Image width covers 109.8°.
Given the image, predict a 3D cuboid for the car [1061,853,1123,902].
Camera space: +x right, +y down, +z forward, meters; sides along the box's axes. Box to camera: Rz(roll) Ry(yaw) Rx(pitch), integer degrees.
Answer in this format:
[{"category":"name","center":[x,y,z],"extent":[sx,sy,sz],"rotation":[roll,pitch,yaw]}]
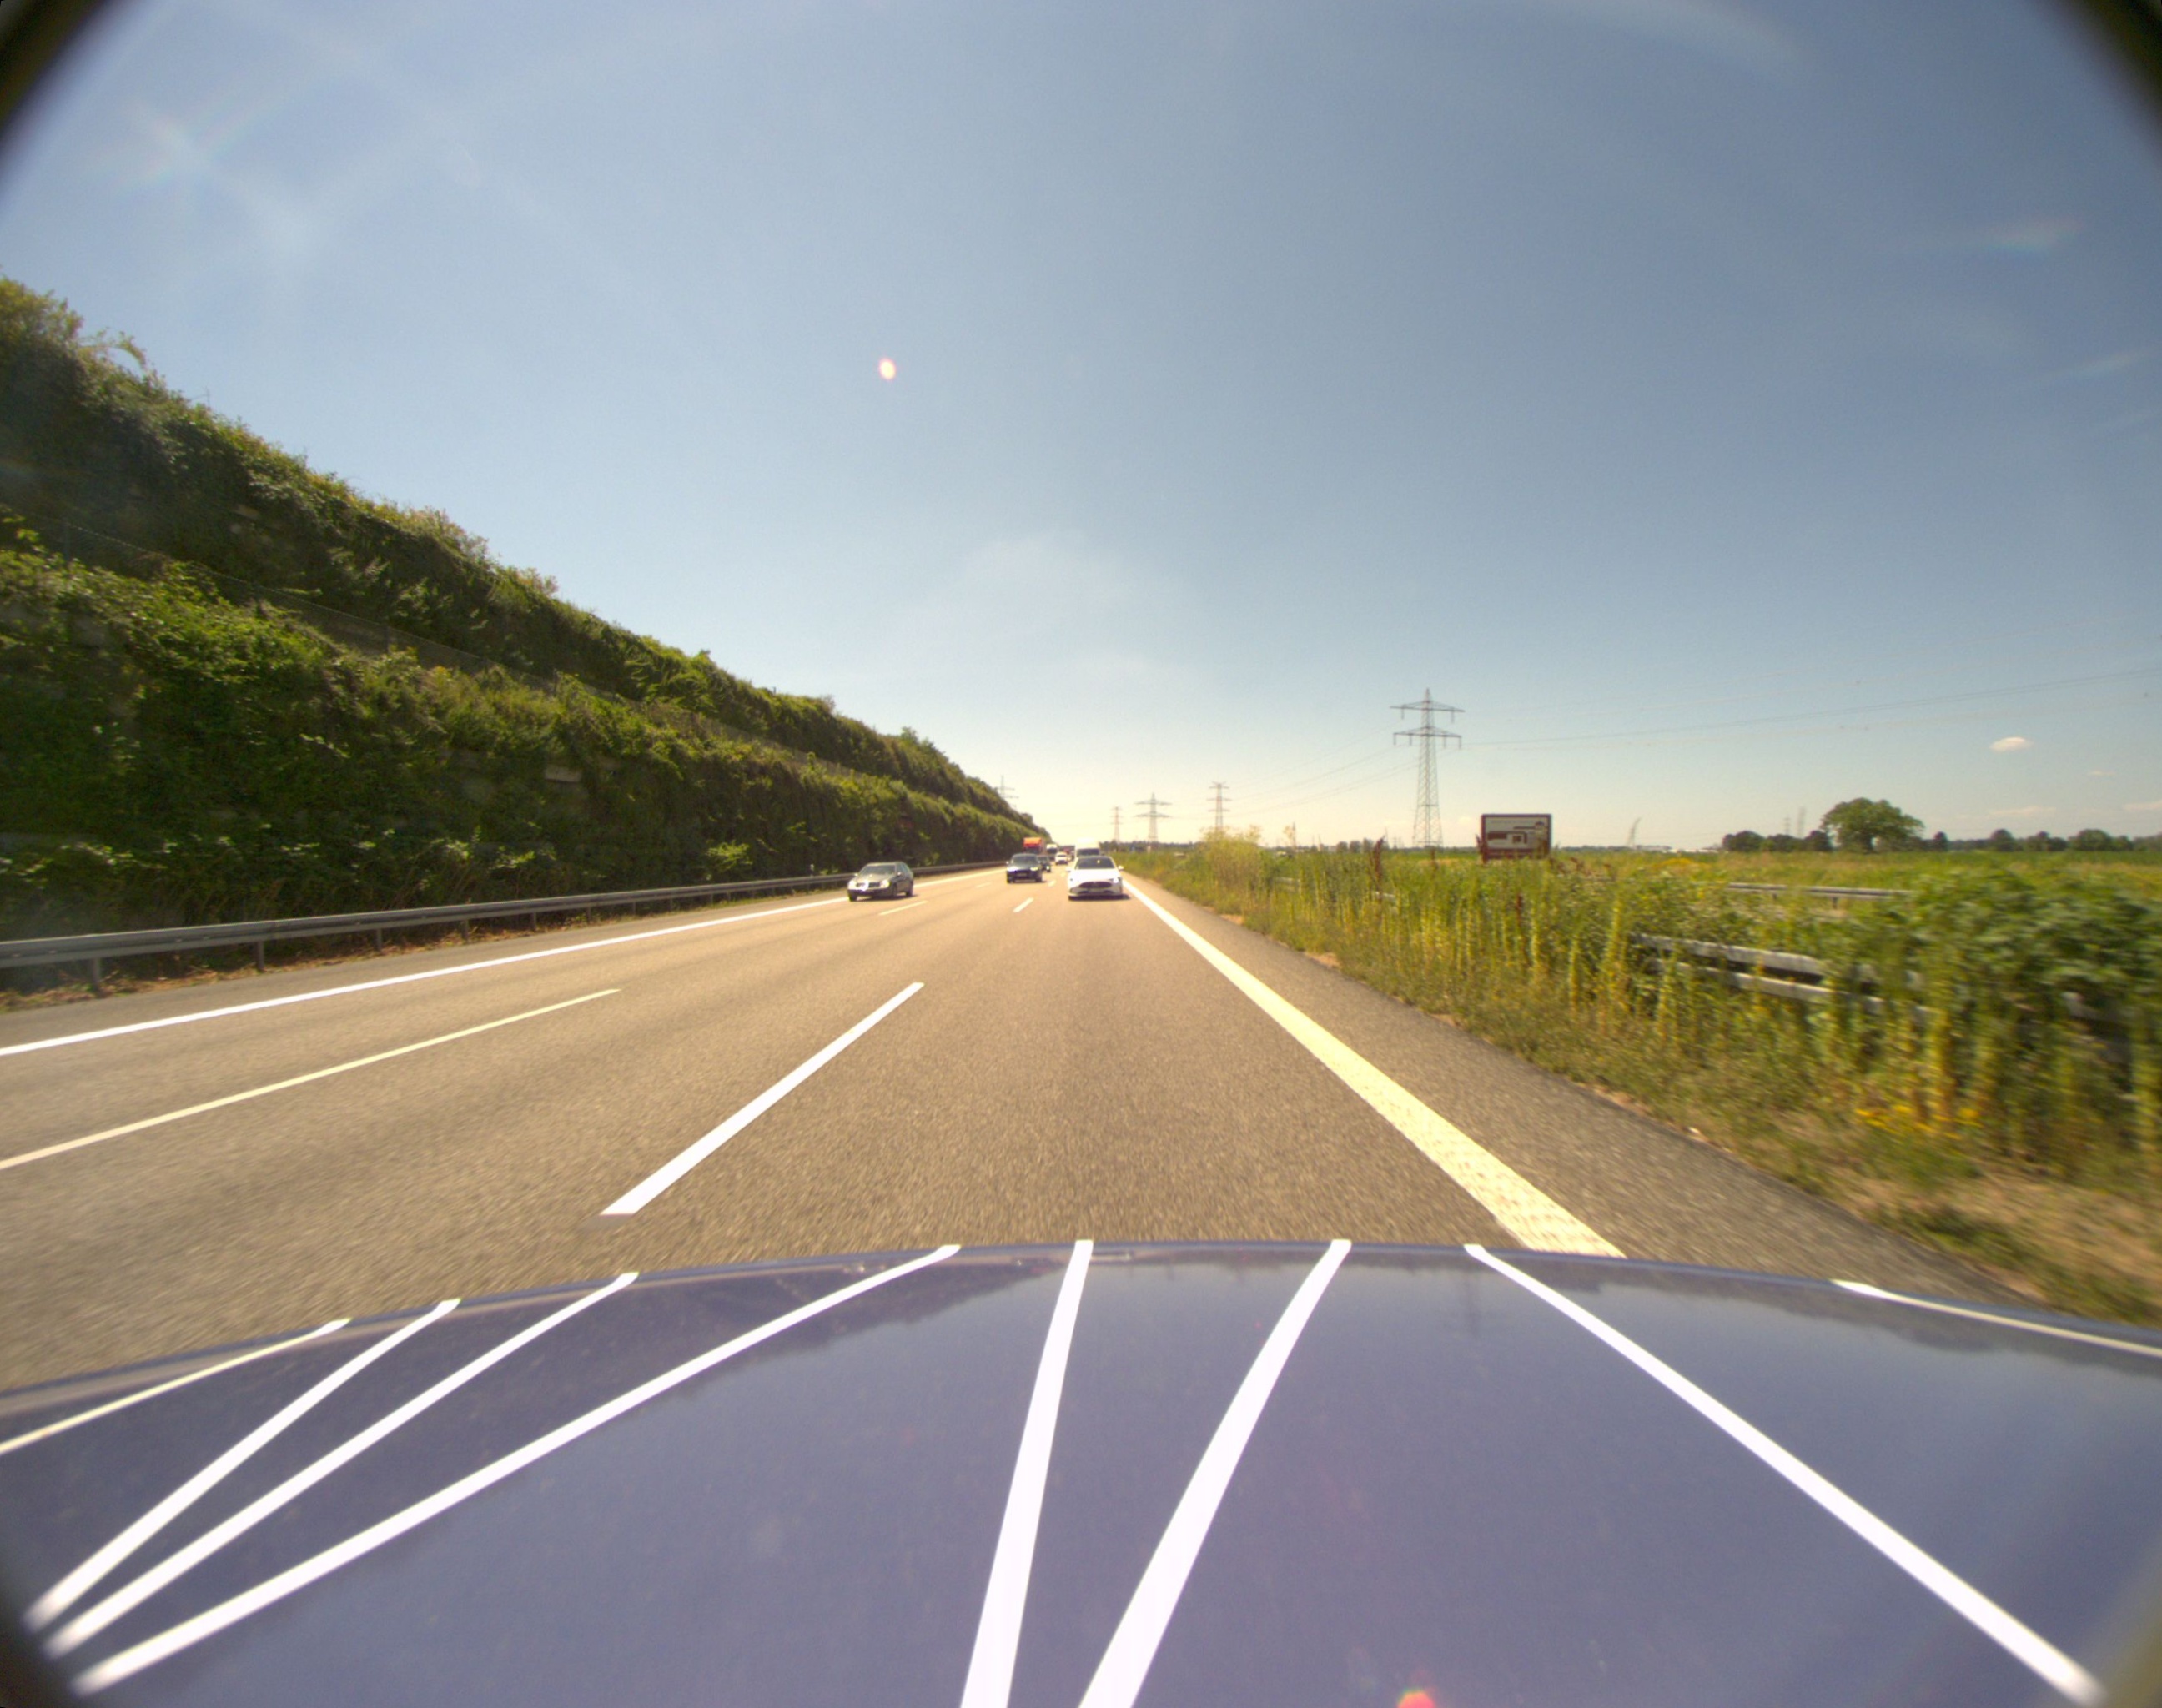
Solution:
[{"category":"car","center":[0.388,0.761,26.950],"extent":[1.984,1.525,4.558],"rotation":[-1,0,0]}]

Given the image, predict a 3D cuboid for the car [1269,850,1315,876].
[{"category":"car","center":[14.373,0.555,51.984],"extent":[1.866,1.644,4.558],"rotation":[-1,0,0]}]

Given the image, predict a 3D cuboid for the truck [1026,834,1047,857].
[{"category":"truck","center":[-6.494,-1.294,111.585],"extent":[2.581,3.204,5.712],"rotation":[-2,1,0]}]

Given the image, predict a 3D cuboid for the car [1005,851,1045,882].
[{"category":"car","center":[-3.211,0.679,44.469],"extent":[1.984,1.671,4.558],"rotation":[-1,0,0]}]

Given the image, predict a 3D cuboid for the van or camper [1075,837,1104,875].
[{"category":"van or camper","center":[0.725,0.158,58.719],"extent":[1.998,2.741,5.410],"rotation":[-2,1,3]}]

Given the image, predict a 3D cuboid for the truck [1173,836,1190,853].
[{"category":"truck","center":[24.152,-2.359,183.096],"extent":[3.214,4.060,9.648],"rotation":[0,1,2]}]

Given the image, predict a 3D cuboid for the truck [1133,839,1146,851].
[{"category":"truck","center":[19.993,-3.064,259.151],"extent":[3.507,4.060,9.646],"rotation":[0,1,-1]}]

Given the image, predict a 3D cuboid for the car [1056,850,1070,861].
[{"category":"car","center":[-2.590,0.169,111.815],"extent":[1.984,1.525,4.137],"rotation":[-1,0,0]}]

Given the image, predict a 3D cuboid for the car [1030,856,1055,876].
[{"category":"car","center":[-3.446,1.052,68.335],"extent":[1.984,1.671,4.558],"rotation":[-1,0,0]}]

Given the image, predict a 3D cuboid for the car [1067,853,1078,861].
[{"category":"car","center":[-1.686,0.512,151.599],"extent":[1.984,1.525,4.137],"rotation":[-1,0,0]}]

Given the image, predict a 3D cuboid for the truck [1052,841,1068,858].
[{"category":"truck","center":[-4.845,-1.053,177.092],"extent":[3.507,3.891,9.646],"rotation":[0,1,-1]}]

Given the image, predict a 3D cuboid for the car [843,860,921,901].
[{"category":"car","center":[-7.810,1.004,30.227],"extent":[1.840,1.403,4.558],"rotation":[-2,0,0]}]

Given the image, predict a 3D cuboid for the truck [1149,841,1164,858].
[{"category":"truck","center":[19.116,-1.221,192.981],"extent":[3.214,4.060,9.648],"rotation":[0,1,2]}]
